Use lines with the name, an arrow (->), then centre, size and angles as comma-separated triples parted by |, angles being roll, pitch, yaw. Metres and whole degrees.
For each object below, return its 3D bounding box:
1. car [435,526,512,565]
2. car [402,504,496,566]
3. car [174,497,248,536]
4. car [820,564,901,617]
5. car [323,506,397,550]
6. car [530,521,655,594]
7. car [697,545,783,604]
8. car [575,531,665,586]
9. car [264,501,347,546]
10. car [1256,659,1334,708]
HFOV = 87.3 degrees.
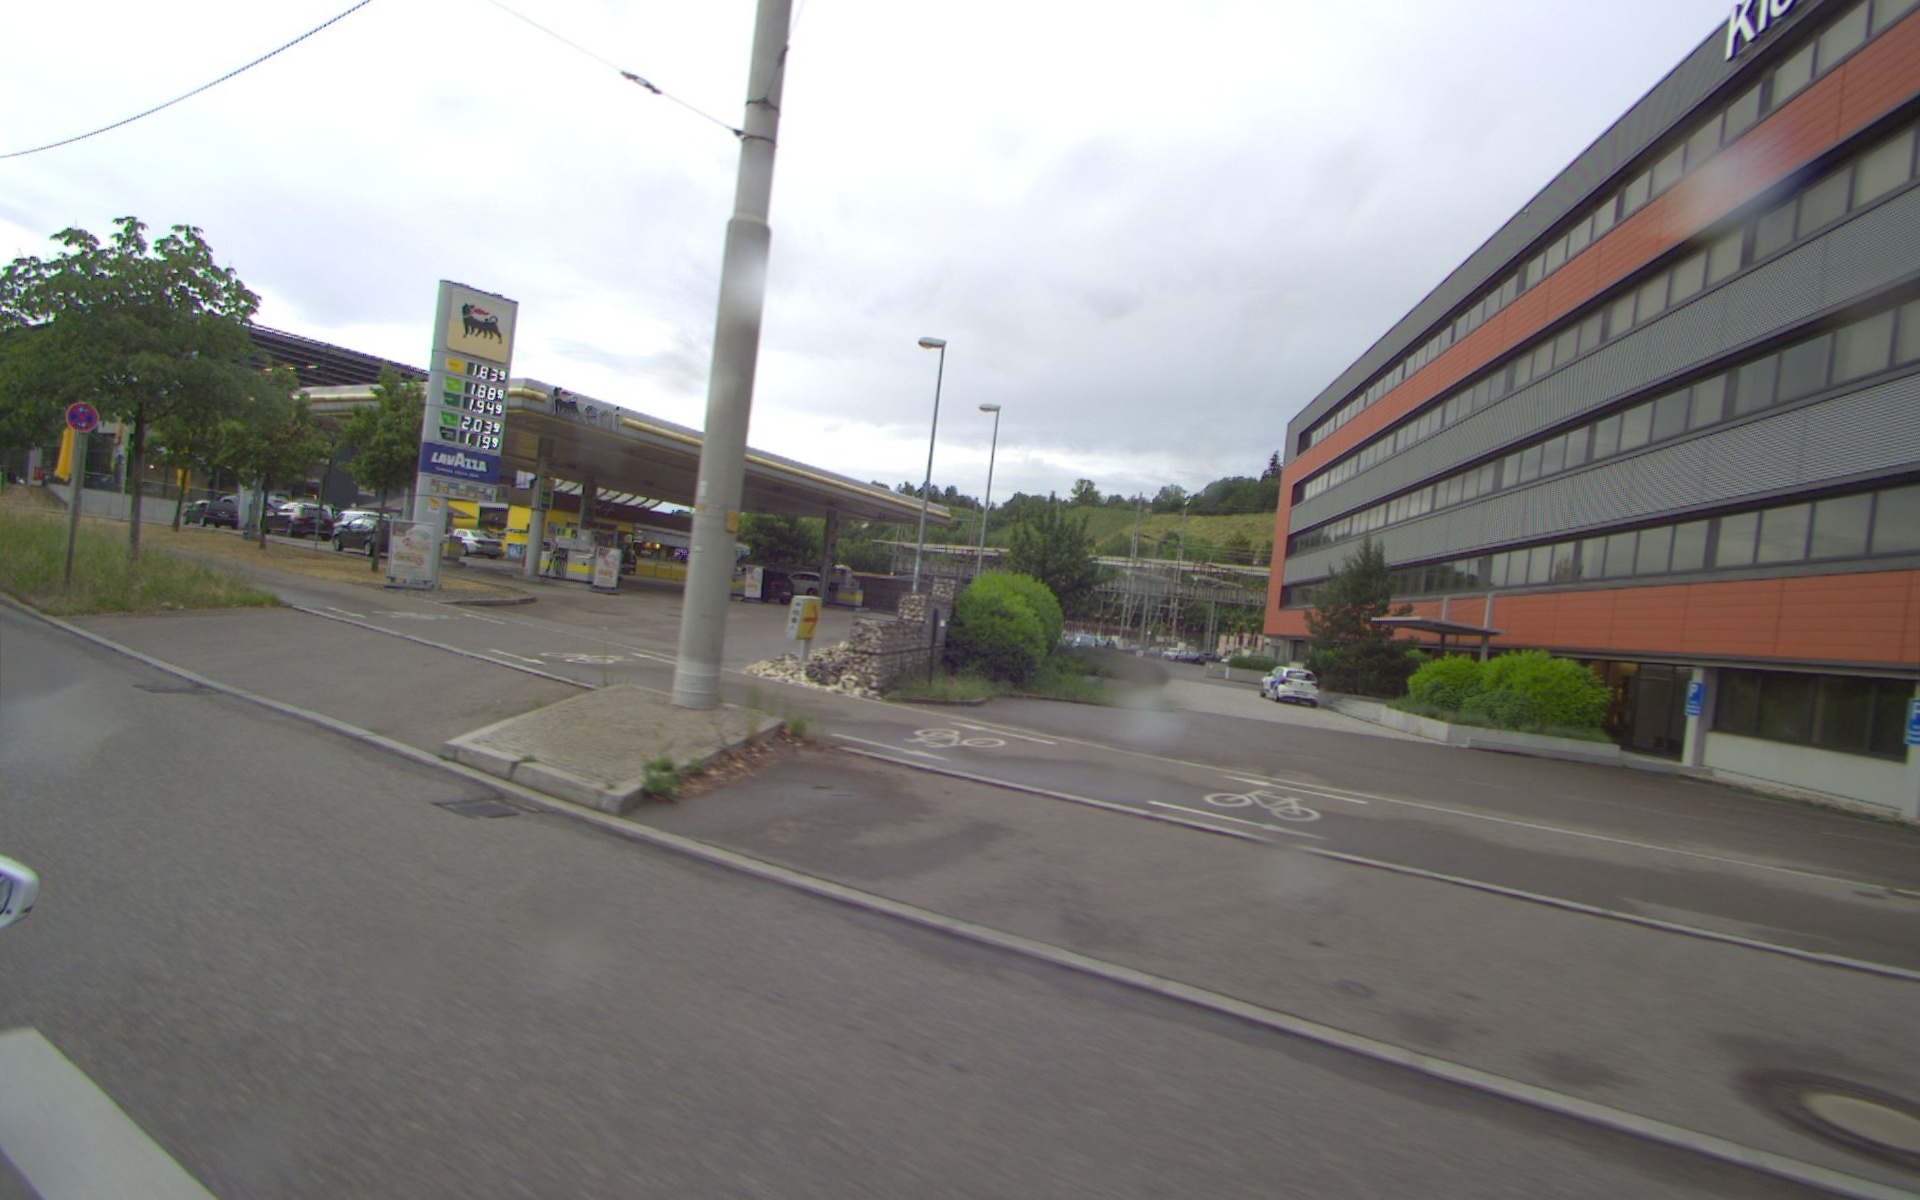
car -> -26.954, -3.017, 55.712 | 3.935, 1.615, 1.995 | 7, 0, 34
car -> -20.377, -2.601, 40.098 | 3.486, 2.036, 1.681 | 7, -2, 35
car -> -39.579, -4.425, 53.144 | 3.935, 1.611, 1.793 | 7, 0, 34
car -> -5.037, -0.490, 50.730 | 3.493, 2.138, 1.694 | 7, -2, 30
car -> -34.488, -4.152, 57.788 | 3.935, 2.038, 1.995 | 7, 0, 34
car -> -12.888, -1.501, 35.232 | 3.935, 2.058, 1.994 | 7, 1, 33
car -> -9.369, -1.100, 42.867 | 3.087, 2.036, 1.678 | 7, -2, 34
car -> -16.248, -1.983, 47.998 | 3.710, 2.036, 1.875 | 7, -2, 30
car -> -32.840, -3.830, 50.477 | 3.935, 1.749, 1.995 | 7, 0, 34
car -> 13.891, 3.438, 42.008 | 1.962, 1.656, 4.005 | 8, -2, 4
